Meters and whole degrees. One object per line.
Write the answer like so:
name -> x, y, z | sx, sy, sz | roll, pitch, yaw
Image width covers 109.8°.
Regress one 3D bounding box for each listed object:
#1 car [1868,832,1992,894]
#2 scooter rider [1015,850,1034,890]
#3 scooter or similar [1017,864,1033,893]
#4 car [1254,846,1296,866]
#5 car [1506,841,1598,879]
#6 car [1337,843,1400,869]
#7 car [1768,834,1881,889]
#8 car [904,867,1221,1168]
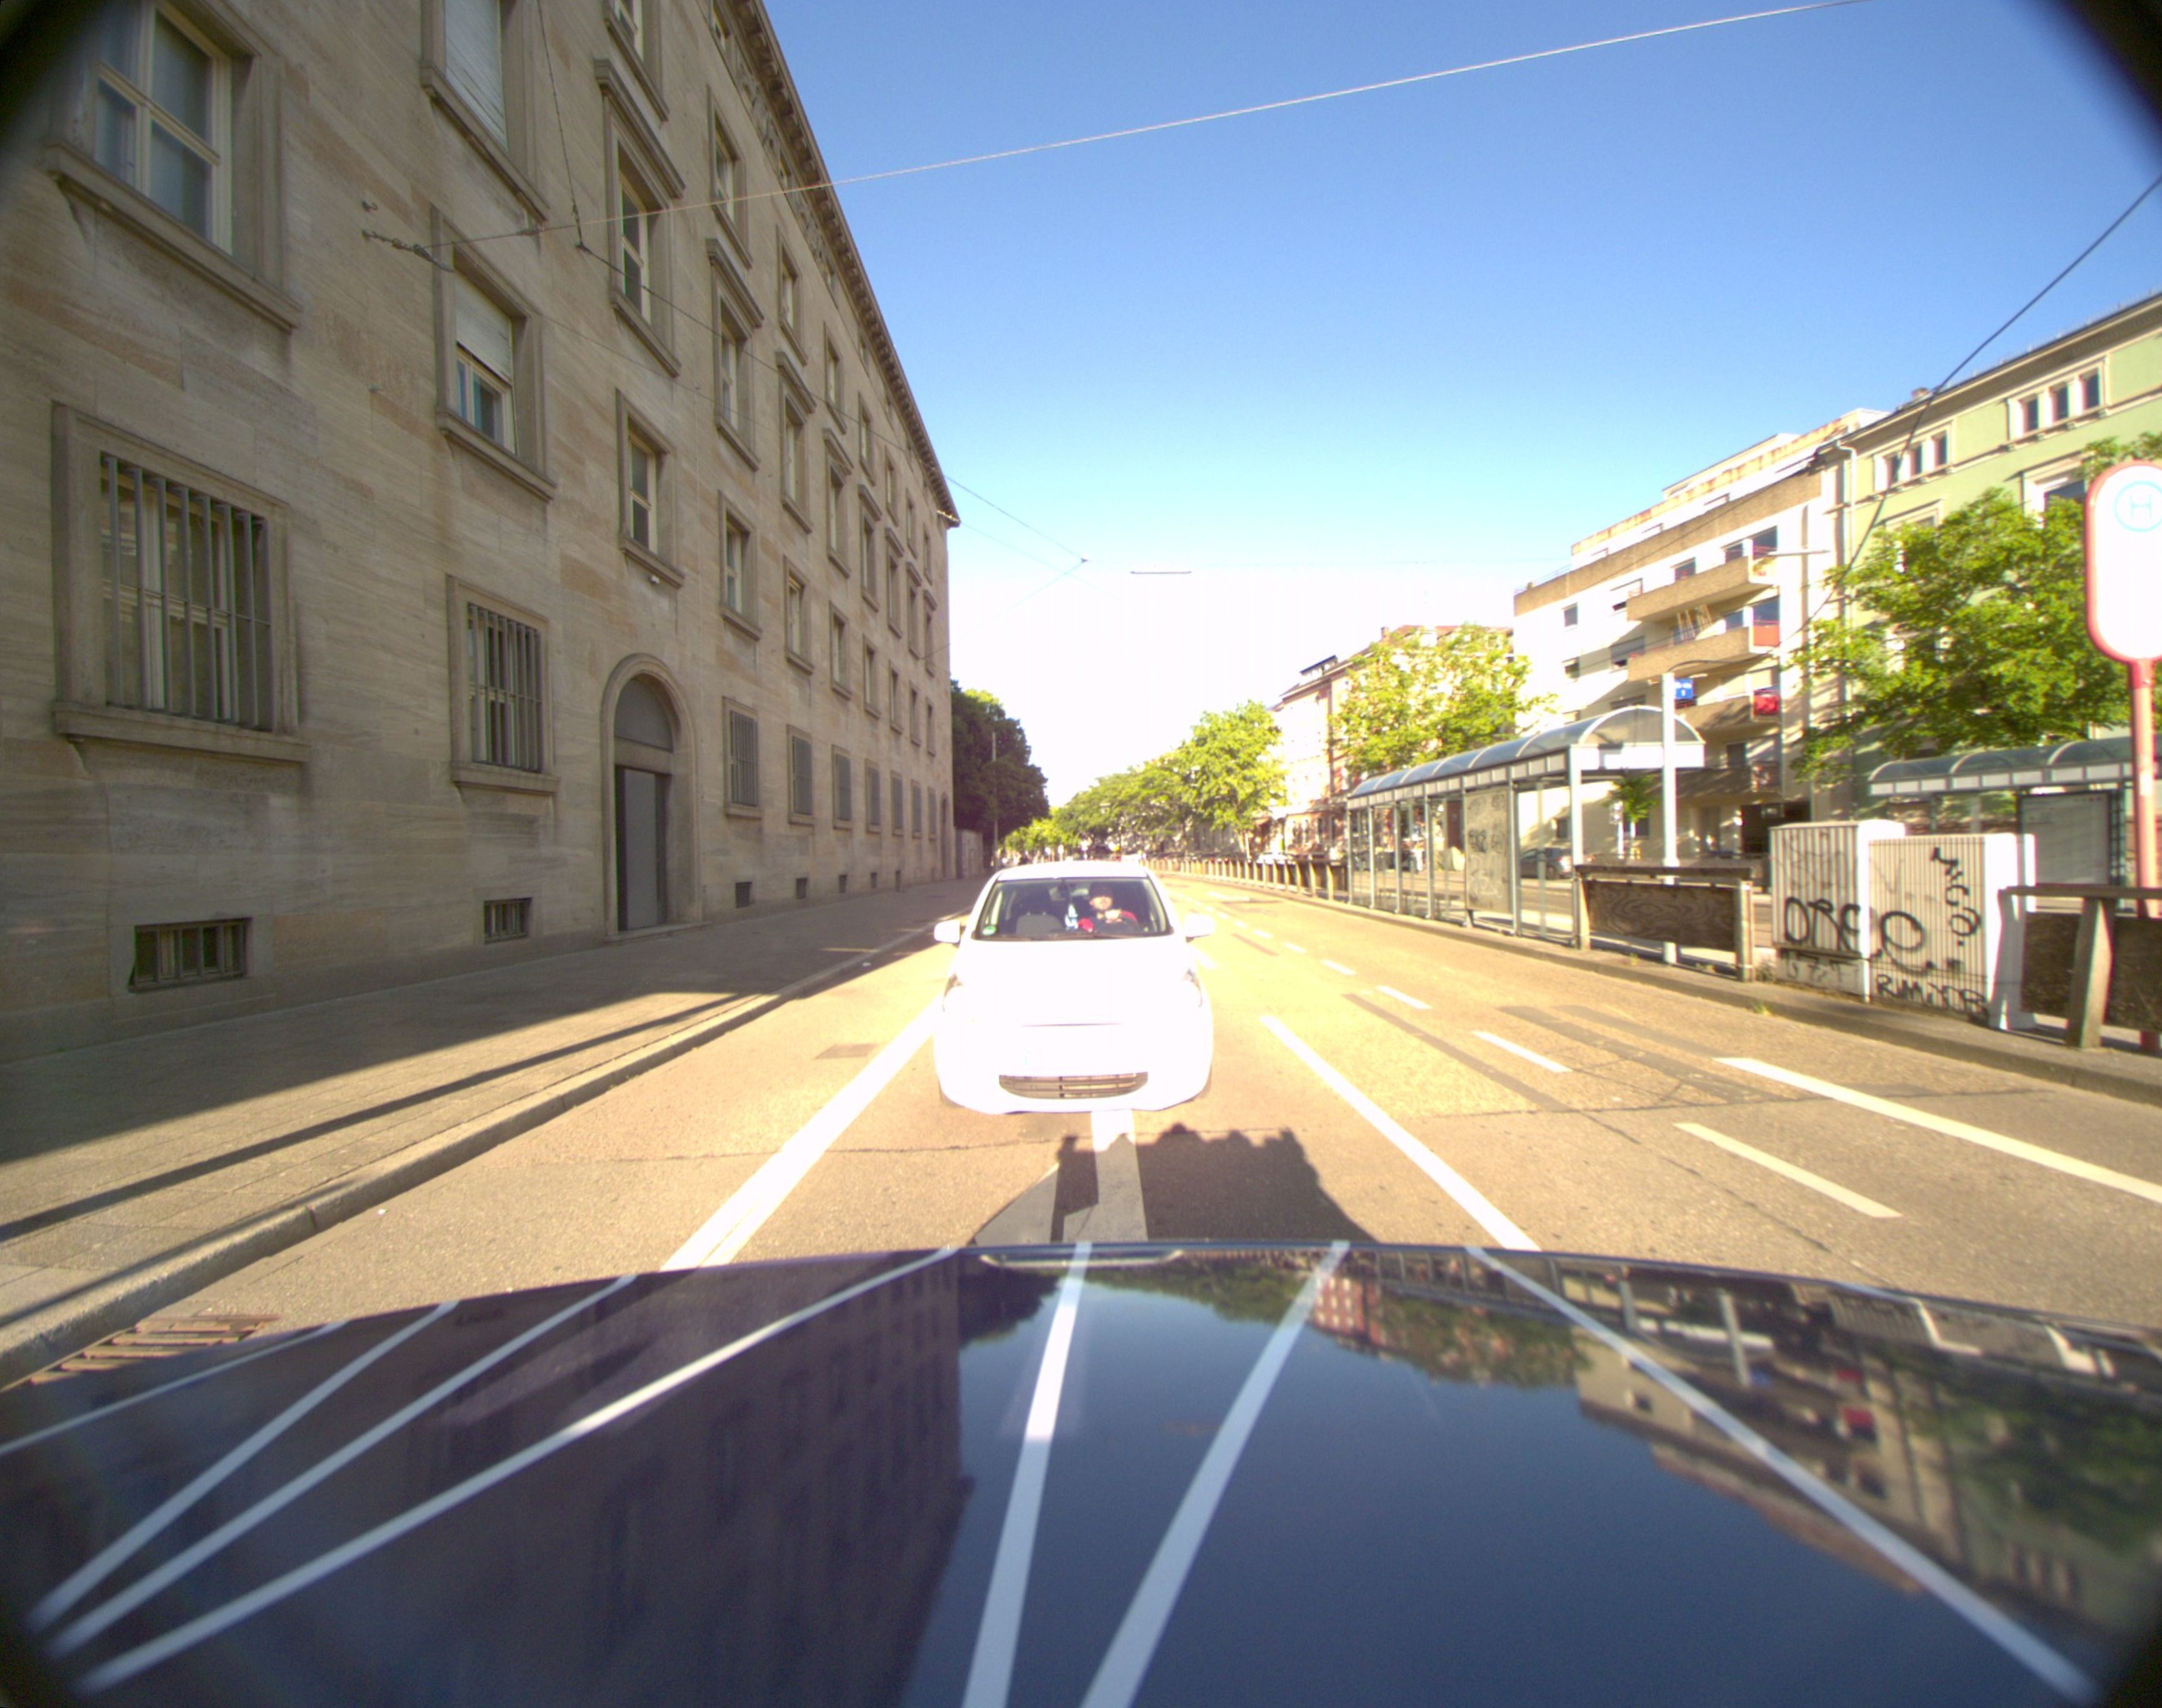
car -> 24.463, 0.229, 21.885 | 3.605, 1.558, 1.627 | -3, 1, -29
scooter rider -> -2.366, 0.674, 32.097 | 0.731, 1.661, 0.556 | -1, 1, 0
scooter or similar -> -2.363, 1.034, 32.145 | 0.536, 1.178, 1.328 | -1, 0, 0
car -> 16.258, 0.153, 63.472 | 3.607, 1.558, 1.627 | -3, 1, -42
car -> 20.915, 0.230, 33.927 | 1.631, 1.558, 3.598 | -2, 1, -5
car -> 19.544, 0.122, 51.718 | 3.599, 1.558, 1.630 | -2, 1, -7
car -> 23.884, 0.223, 24.397 | 3.605, 1.558, 1.627 | -3, 1, -29
car -> -0.074, 0.892, 5.803 | 1.612, 1.462, 3.631 | -2, 0, 1
